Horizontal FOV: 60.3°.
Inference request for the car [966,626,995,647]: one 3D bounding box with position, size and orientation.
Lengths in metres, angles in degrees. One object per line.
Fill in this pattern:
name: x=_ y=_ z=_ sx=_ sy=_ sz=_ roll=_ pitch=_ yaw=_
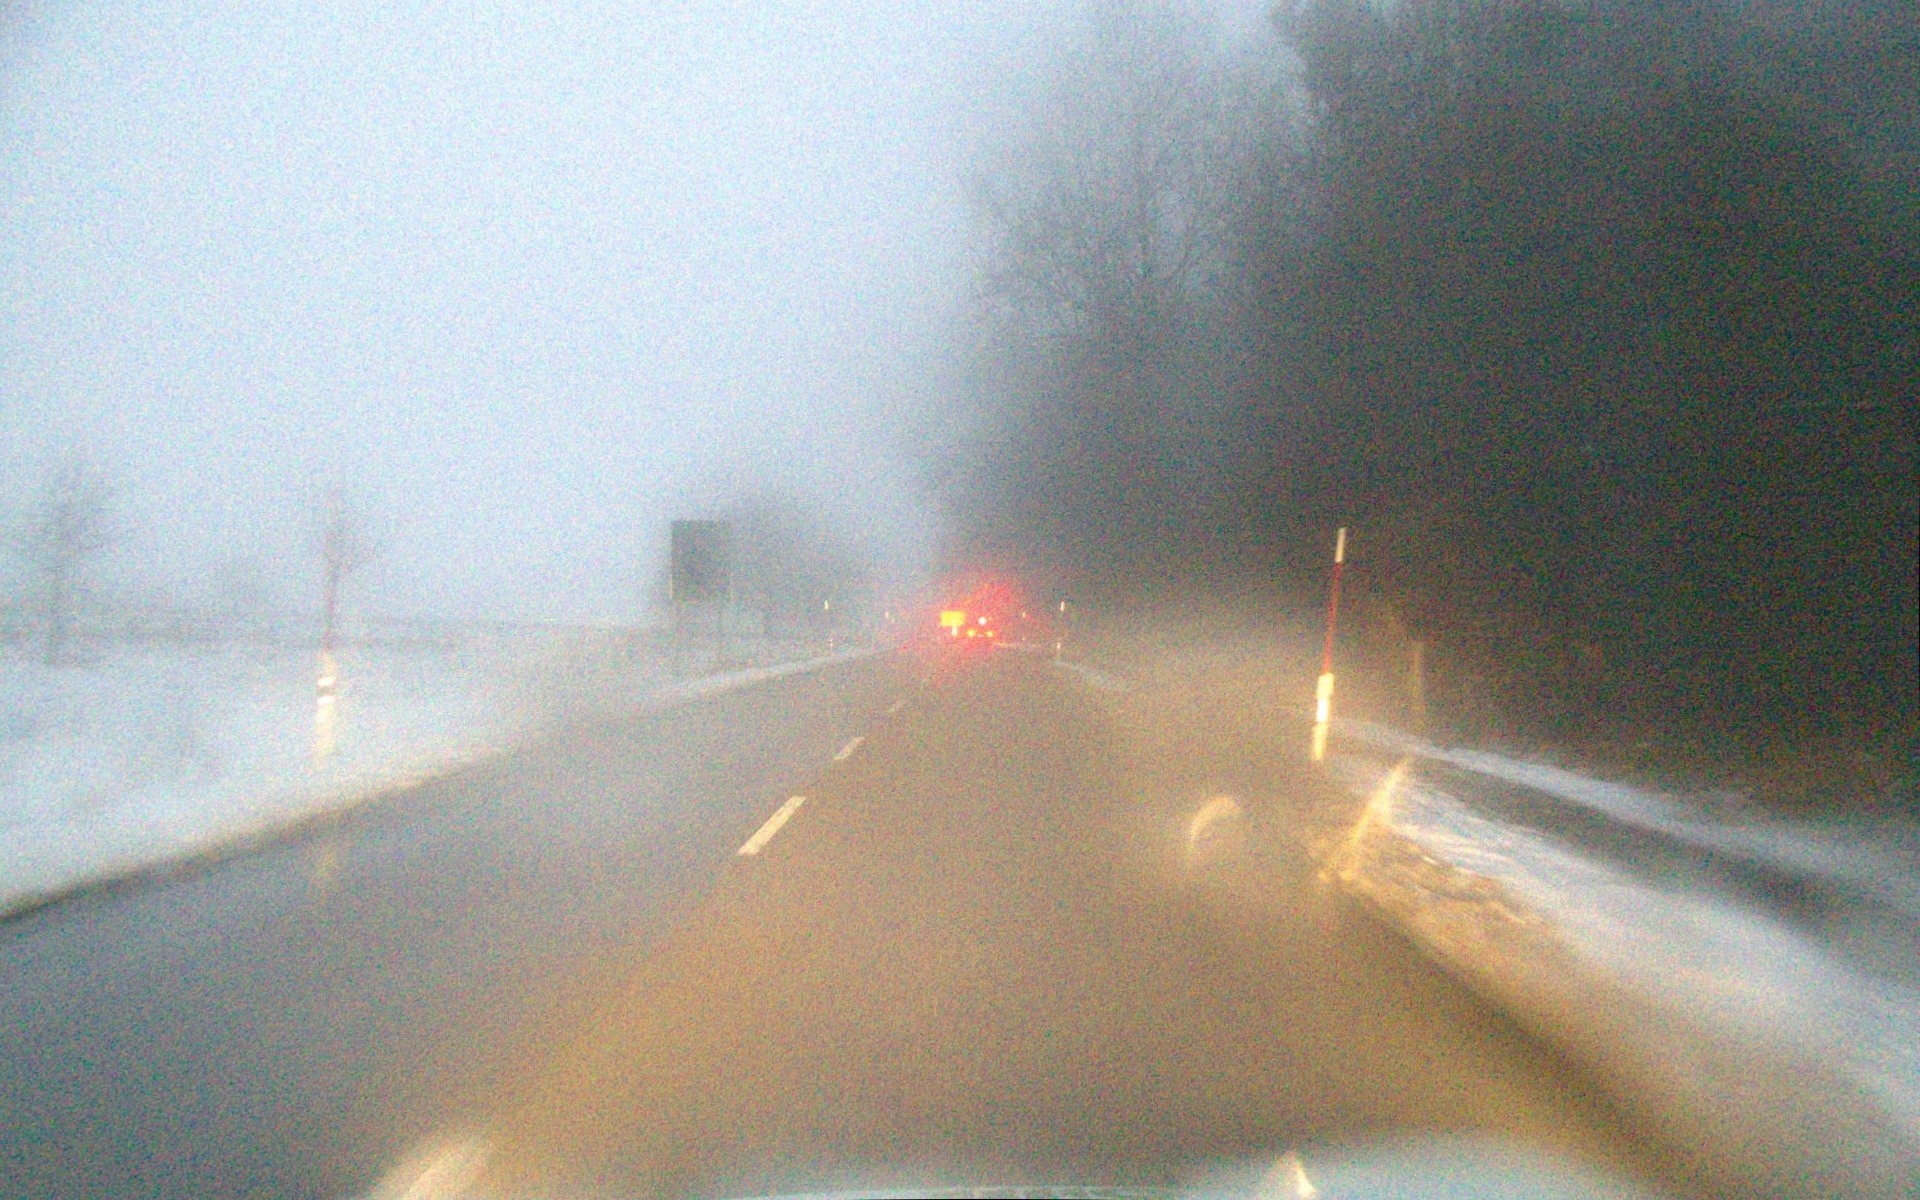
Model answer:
car: x=1.393 y=2.507 z=114.696 sx=1.953 sy=1.445 sz=3.999 roll=0 pitch=-1 yaw=-1
